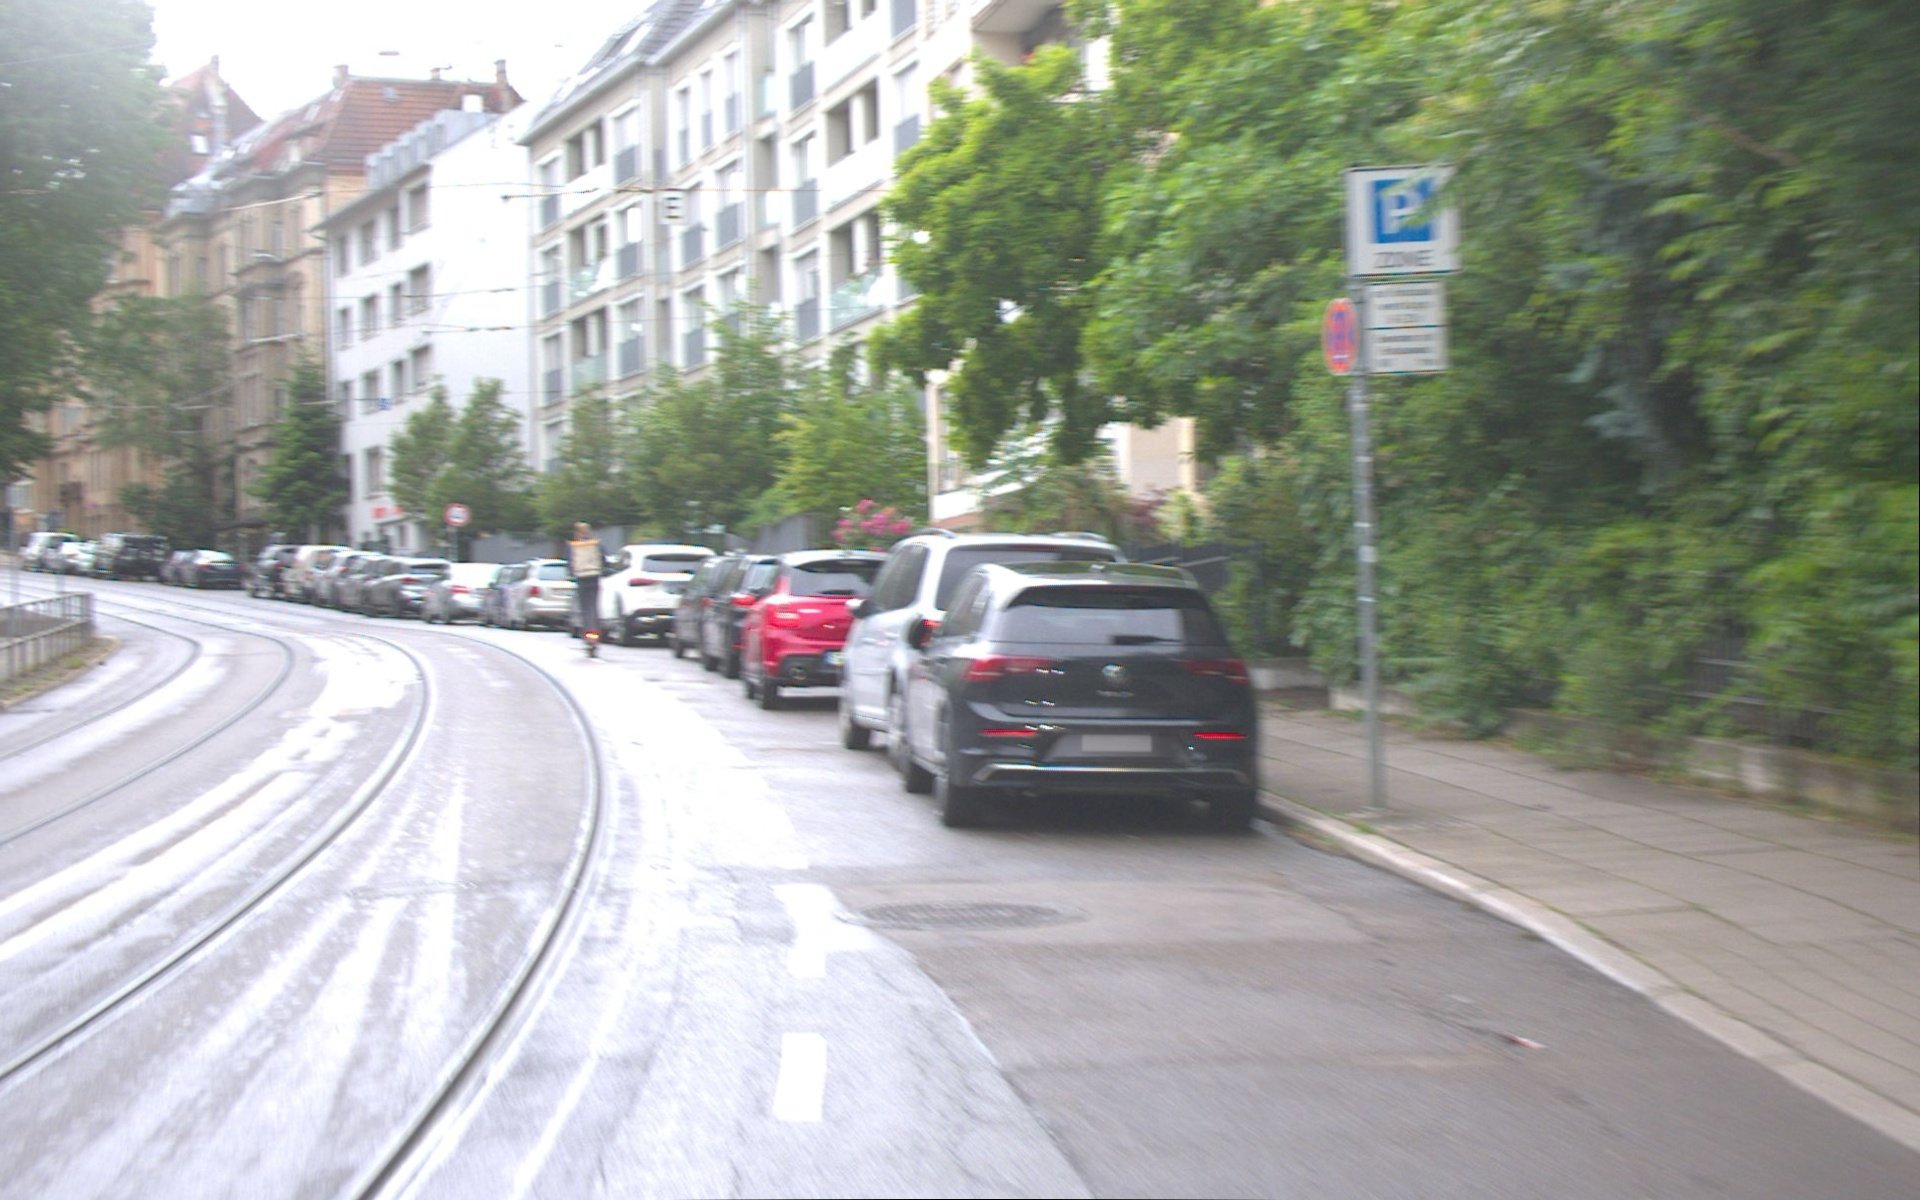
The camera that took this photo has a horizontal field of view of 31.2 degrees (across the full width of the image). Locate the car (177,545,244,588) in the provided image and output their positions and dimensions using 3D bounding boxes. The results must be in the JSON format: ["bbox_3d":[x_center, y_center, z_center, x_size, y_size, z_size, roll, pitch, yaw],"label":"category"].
[{"bbox_3d":[-27.573,-1.251,126.370,1.766,1.512,4.140,1,1,-21],"label":"car"}]

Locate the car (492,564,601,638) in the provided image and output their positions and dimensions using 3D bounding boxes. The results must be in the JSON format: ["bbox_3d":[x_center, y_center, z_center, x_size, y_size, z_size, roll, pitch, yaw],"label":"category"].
[{"bbox_3d":[-8.612,0.024,71.352,1.661,1.466,4.509,1,0,-14],"label":"car"}]

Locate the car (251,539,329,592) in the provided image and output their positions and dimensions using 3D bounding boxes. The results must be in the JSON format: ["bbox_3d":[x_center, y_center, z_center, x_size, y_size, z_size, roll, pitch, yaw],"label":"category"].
[{"bbox_3d":[-22.150,-1.151,113.516,1.766,1.678,4.249,1,1,-21],"label":"car"}]

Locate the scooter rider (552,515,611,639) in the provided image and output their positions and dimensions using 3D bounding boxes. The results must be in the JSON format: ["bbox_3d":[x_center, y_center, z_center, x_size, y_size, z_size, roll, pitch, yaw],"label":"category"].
[{"bbox_3d":[-5.289,-0.322,48.051,0.623,1.700,0.844,2,1,-17],"label":"scooter rider"}]

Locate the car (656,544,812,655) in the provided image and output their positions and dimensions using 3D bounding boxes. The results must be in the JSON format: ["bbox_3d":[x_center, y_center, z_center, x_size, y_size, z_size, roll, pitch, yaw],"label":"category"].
[{"bbox_3d":[-3.140,-0.040,47.001,1.556,1.432,4.305,0,1,-12],"label":"car"}]

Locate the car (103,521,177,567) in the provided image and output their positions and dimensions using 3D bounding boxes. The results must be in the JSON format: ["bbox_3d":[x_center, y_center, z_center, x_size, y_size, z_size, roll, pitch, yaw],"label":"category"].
[{"bbox_3d":[-33.328,-2.289,139.598,2.027,1.818,4.369,0,1,-26],"label":"car"}]

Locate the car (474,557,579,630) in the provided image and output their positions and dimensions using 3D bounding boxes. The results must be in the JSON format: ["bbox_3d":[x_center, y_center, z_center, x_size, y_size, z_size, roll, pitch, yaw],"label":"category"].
[{"bbox_3d":[-9.580,-0.162,75.830,1.701,1.507,3.715,1,1,-16],"label":"car"}]

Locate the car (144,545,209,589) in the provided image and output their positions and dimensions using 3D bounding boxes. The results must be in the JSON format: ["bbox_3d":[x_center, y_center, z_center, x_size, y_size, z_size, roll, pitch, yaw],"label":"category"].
[{"bbox_3d":[-29.814,-1.282,130.751,1.649,1.530,3.890,-4,3,-23],"label":"car"}]

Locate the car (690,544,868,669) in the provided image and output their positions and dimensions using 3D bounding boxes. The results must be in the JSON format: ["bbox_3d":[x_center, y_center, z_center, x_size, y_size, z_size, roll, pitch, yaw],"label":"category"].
[{"bbox_3d":[-2.232,0.039,41.496,1.683,1.432,4.065,0,1,-10],"label":"car"}]

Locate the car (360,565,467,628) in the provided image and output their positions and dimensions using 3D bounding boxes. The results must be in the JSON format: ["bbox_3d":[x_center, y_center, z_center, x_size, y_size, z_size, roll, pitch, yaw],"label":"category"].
[{"bbox_3d":[-14.705,-0.106,92.339,1.766,1.610,4.249,-1,1,-24],"label":"car"}]

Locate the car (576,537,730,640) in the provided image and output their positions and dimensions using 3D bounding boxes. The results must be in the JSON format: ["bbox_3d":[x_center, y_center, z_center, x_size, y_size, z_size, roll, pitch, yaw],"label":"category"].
[{"bbox_3d":[-4.997,-0.213,55.524,1.836,1.567,4.249,1,1,-13],"label":"car"}]

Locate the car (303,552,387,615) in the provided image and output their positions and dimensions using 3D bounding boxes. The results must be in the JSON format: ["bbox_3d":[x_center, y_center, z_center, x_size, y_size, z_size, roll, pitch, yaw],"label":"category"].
[{"bbox_3d":[-18.521,-0.509,103.379,1.766,1.781,4.249,1,1,-20],"label":"car"}]

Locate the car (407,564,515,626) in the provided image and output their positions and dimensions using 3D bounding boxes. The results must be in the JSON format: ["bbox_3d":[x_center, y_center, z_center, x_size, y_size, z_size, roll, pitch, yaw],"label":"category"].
[{"bbox_3d":[-12.049,-0.139,82.779,1.761,1.430,4.640,-1,1,-18],"label":"car"}]

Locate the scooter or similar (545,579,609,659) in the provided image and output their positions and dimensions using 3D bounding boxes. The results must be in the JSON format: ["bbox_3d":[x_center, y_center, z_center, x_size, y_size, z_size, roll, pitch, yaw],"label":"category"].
[{"bbox_3d":[-5.359,0.259,48.042,0.513,1.046,2.009,2,1,-17],"label":"scooter or similar"}]

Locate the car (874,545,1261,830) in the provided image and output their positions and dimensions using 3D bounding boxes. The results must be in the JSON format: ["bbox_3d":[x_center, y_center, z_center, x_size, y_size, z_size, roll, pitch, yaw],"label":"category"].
[{"bbox_3d":[0.514,0.426,19.943,1.765,1.386,4.001,0,2,-5],"label":"car"}]

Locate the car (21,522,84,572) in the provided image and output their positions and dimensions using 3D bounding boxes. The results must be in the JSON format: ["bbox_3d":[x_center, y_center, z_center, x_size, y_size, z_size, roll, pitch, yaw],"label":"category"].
[{"bbox_3d":[-40.764,-2.396,154.350,2.027,2.210,4.140,1,1,-25],"label":"car"}]

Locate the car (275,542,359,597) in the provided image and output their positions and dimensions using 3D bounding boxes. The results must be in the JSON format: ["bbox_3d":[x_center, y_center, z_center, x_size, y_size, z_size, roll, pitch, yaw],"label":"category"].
[{"bbox_3d":[-20.385,-0.975,108.903,1.766,1.678,4.249,1,1,-23],"label":"car"}]

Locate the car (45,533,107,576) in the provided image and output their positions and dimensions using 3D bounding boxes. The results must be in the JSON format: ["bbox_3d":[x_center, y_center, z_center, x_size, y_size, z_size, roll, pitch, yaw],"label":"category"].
[{"bbox_3d":[-38.529,-2.005,149.832,2.027,1.818,4.140,1,1,-23],"label":"car"}]

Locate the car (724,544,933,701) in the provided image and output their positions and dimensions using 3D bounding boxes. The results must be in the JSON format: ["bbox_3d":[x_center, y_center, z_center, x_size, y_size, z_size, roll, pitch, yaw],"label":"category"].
[{"bbox_3d":[-1.334,0.176,33.456,1.721,1.432,3.842,0,1,-7],"label":"car"}]

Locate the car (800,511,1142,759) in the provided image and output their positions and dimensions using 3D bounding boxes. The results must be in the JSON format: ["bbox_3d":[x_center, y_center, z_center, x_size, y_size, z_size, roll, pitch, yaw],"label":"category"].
[{"bbox_3d":[-0.017,0.207,25.008,1.765,1.598,4.289,-2,1,-9],"label":"car"}]
